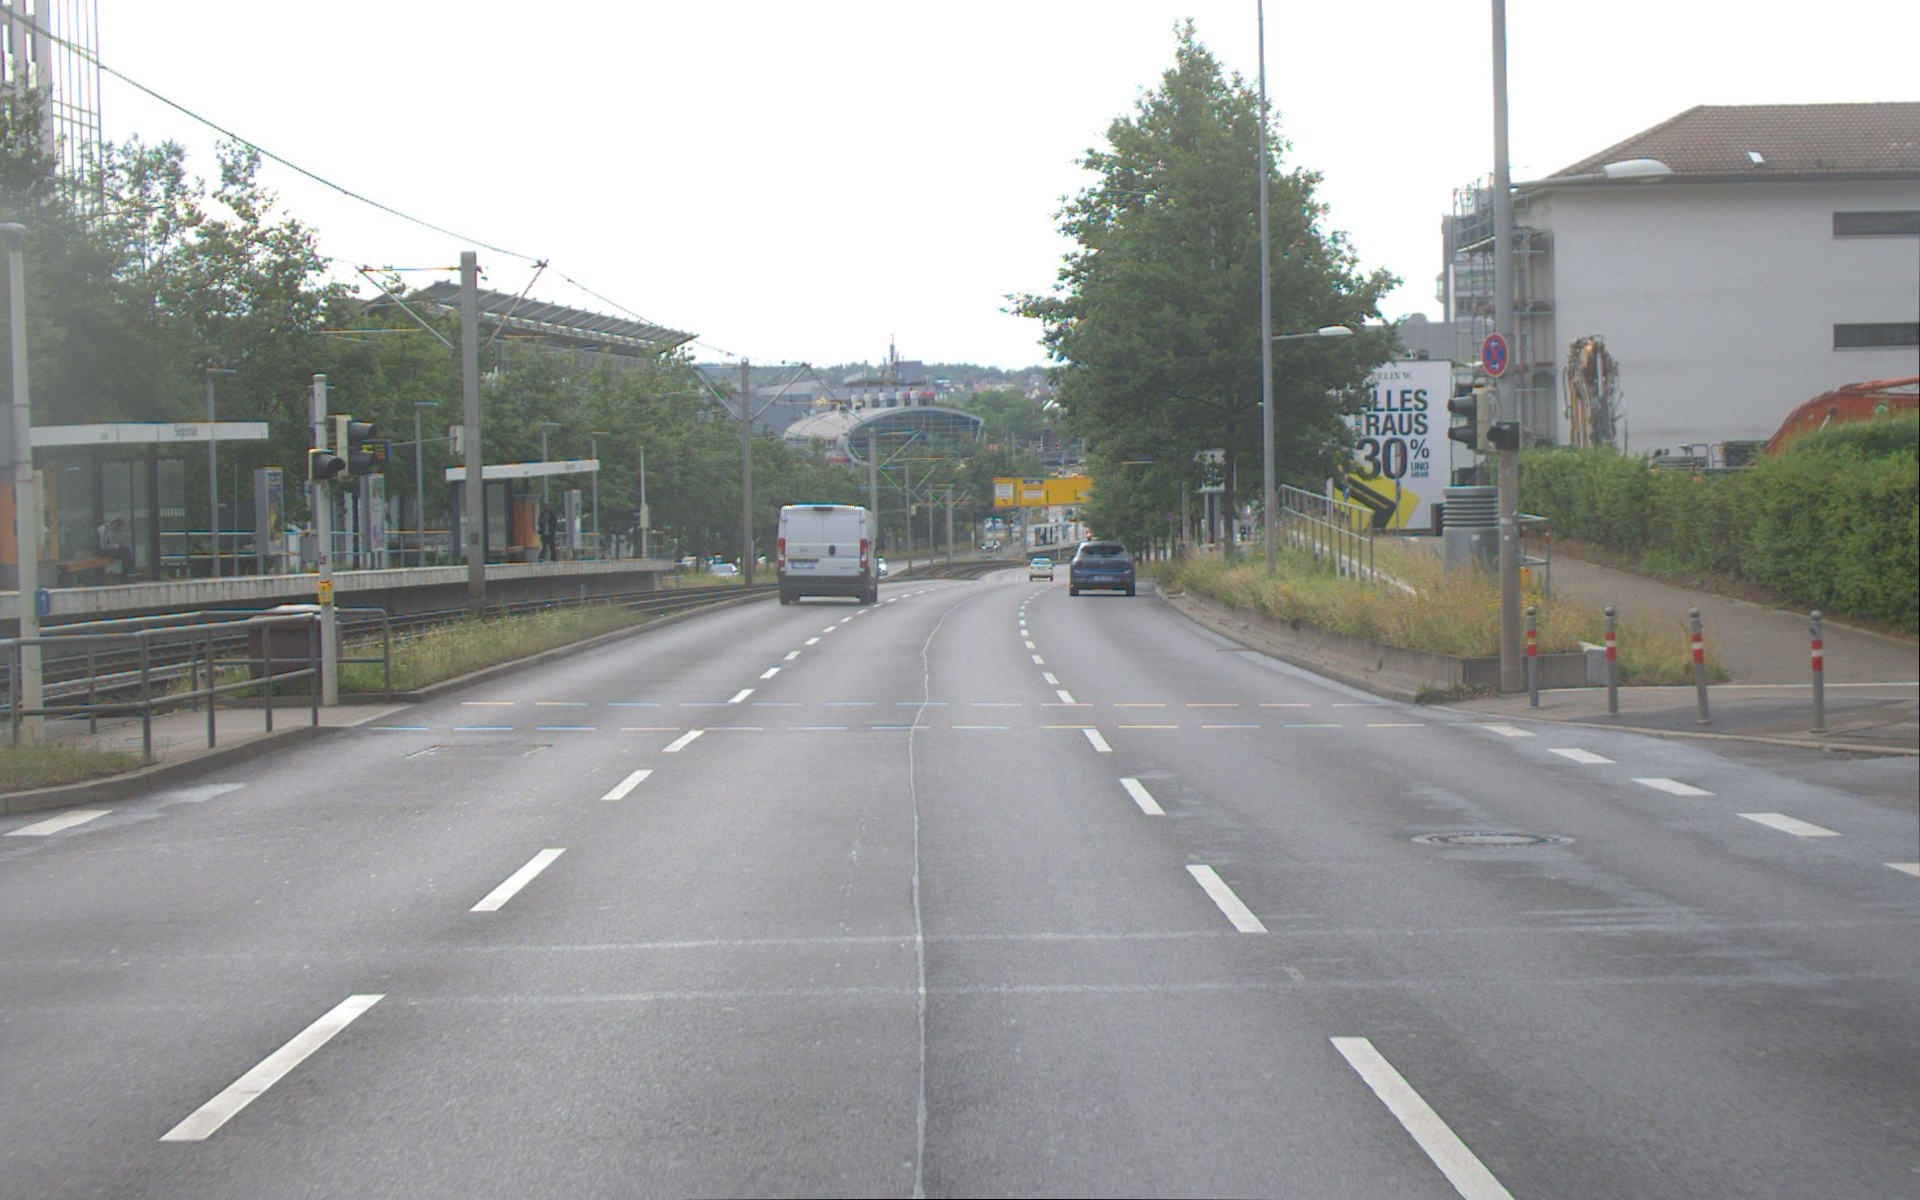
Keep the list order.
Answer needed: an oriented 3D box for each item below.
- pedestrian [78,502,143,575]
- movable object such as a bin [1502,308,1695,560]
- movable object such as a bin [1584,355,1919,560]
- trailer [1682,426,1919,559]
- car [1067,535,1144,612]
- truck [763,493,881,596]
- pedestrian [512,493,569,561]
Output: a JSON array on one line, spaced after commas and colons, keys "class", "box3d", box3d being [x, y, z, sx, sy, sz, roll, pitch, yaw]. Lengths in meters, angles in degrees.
[{"class": "pedestrian", "box3d": [-15.381, -1.115, 62.251, 0.961, 1.295, 0.684, -1, 1, 1]}, {"class": "movable object such as a bin", "box3d": [15.181, -3.823, 82.401, 3.290, 5.665, 8.763, 1, 0, 3]}, {"class": "movable object such as a bin", "box3d": [23.366, -3.857, 93.167, 12.141, 5.243, 3.789, -1, 0, 1]}, {"class": "trailer", "box3d": [20.831, -2.546, 83.641, 2.637, 3.032, 7.500, 1, 1, -22]}, {"class": "car", "box3d": [3.926, -0.716, 92.431, 1.994, 2.007, 3.934, 1, 0, 3]}, {"class": "truck", "box3d": [-3.110, -1.249, 78.650, 2.360, 2.254, 5.305, 1, 1, 1]}, {"class": "pedestrian", "box3d": [-12.424, -2.158, 101.848, 1.267, 2.007, 1.129, 1, 0, 18]}]
